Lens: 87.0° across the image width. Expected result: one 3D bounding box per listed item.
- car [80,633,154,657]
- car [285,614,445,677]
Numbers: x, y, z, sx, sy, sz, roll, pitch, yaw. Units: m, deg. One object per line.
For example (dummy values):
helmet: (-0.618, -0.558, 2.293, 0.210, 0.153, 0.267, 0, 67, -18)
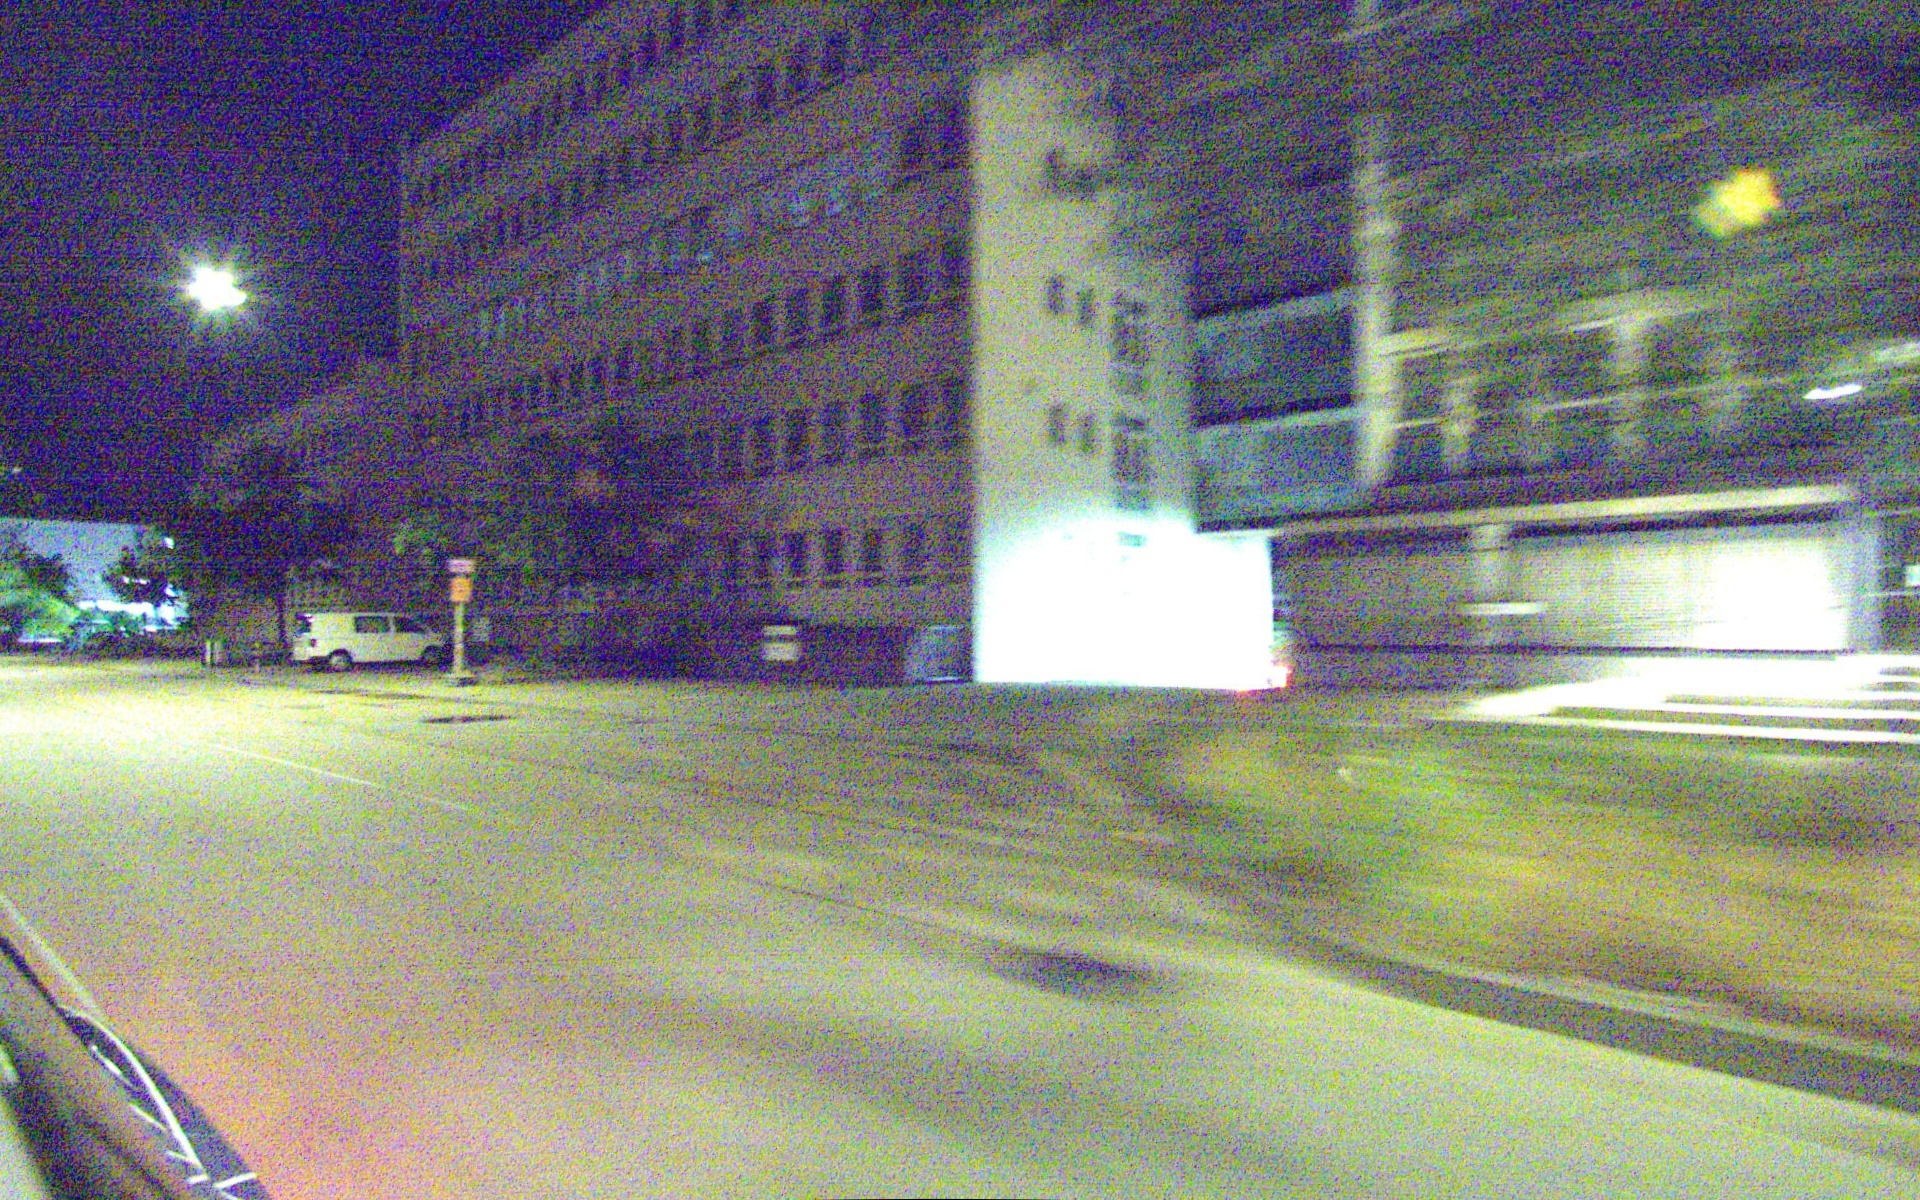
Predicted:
car: (-64.024, 3.396, 76.880, 1.803, 1.474, 3.951, -2, 2, 37)
car: (-20.576, 1.508, 35.134, 1.998, 1.987, 4.388, -2, -1, 39)
